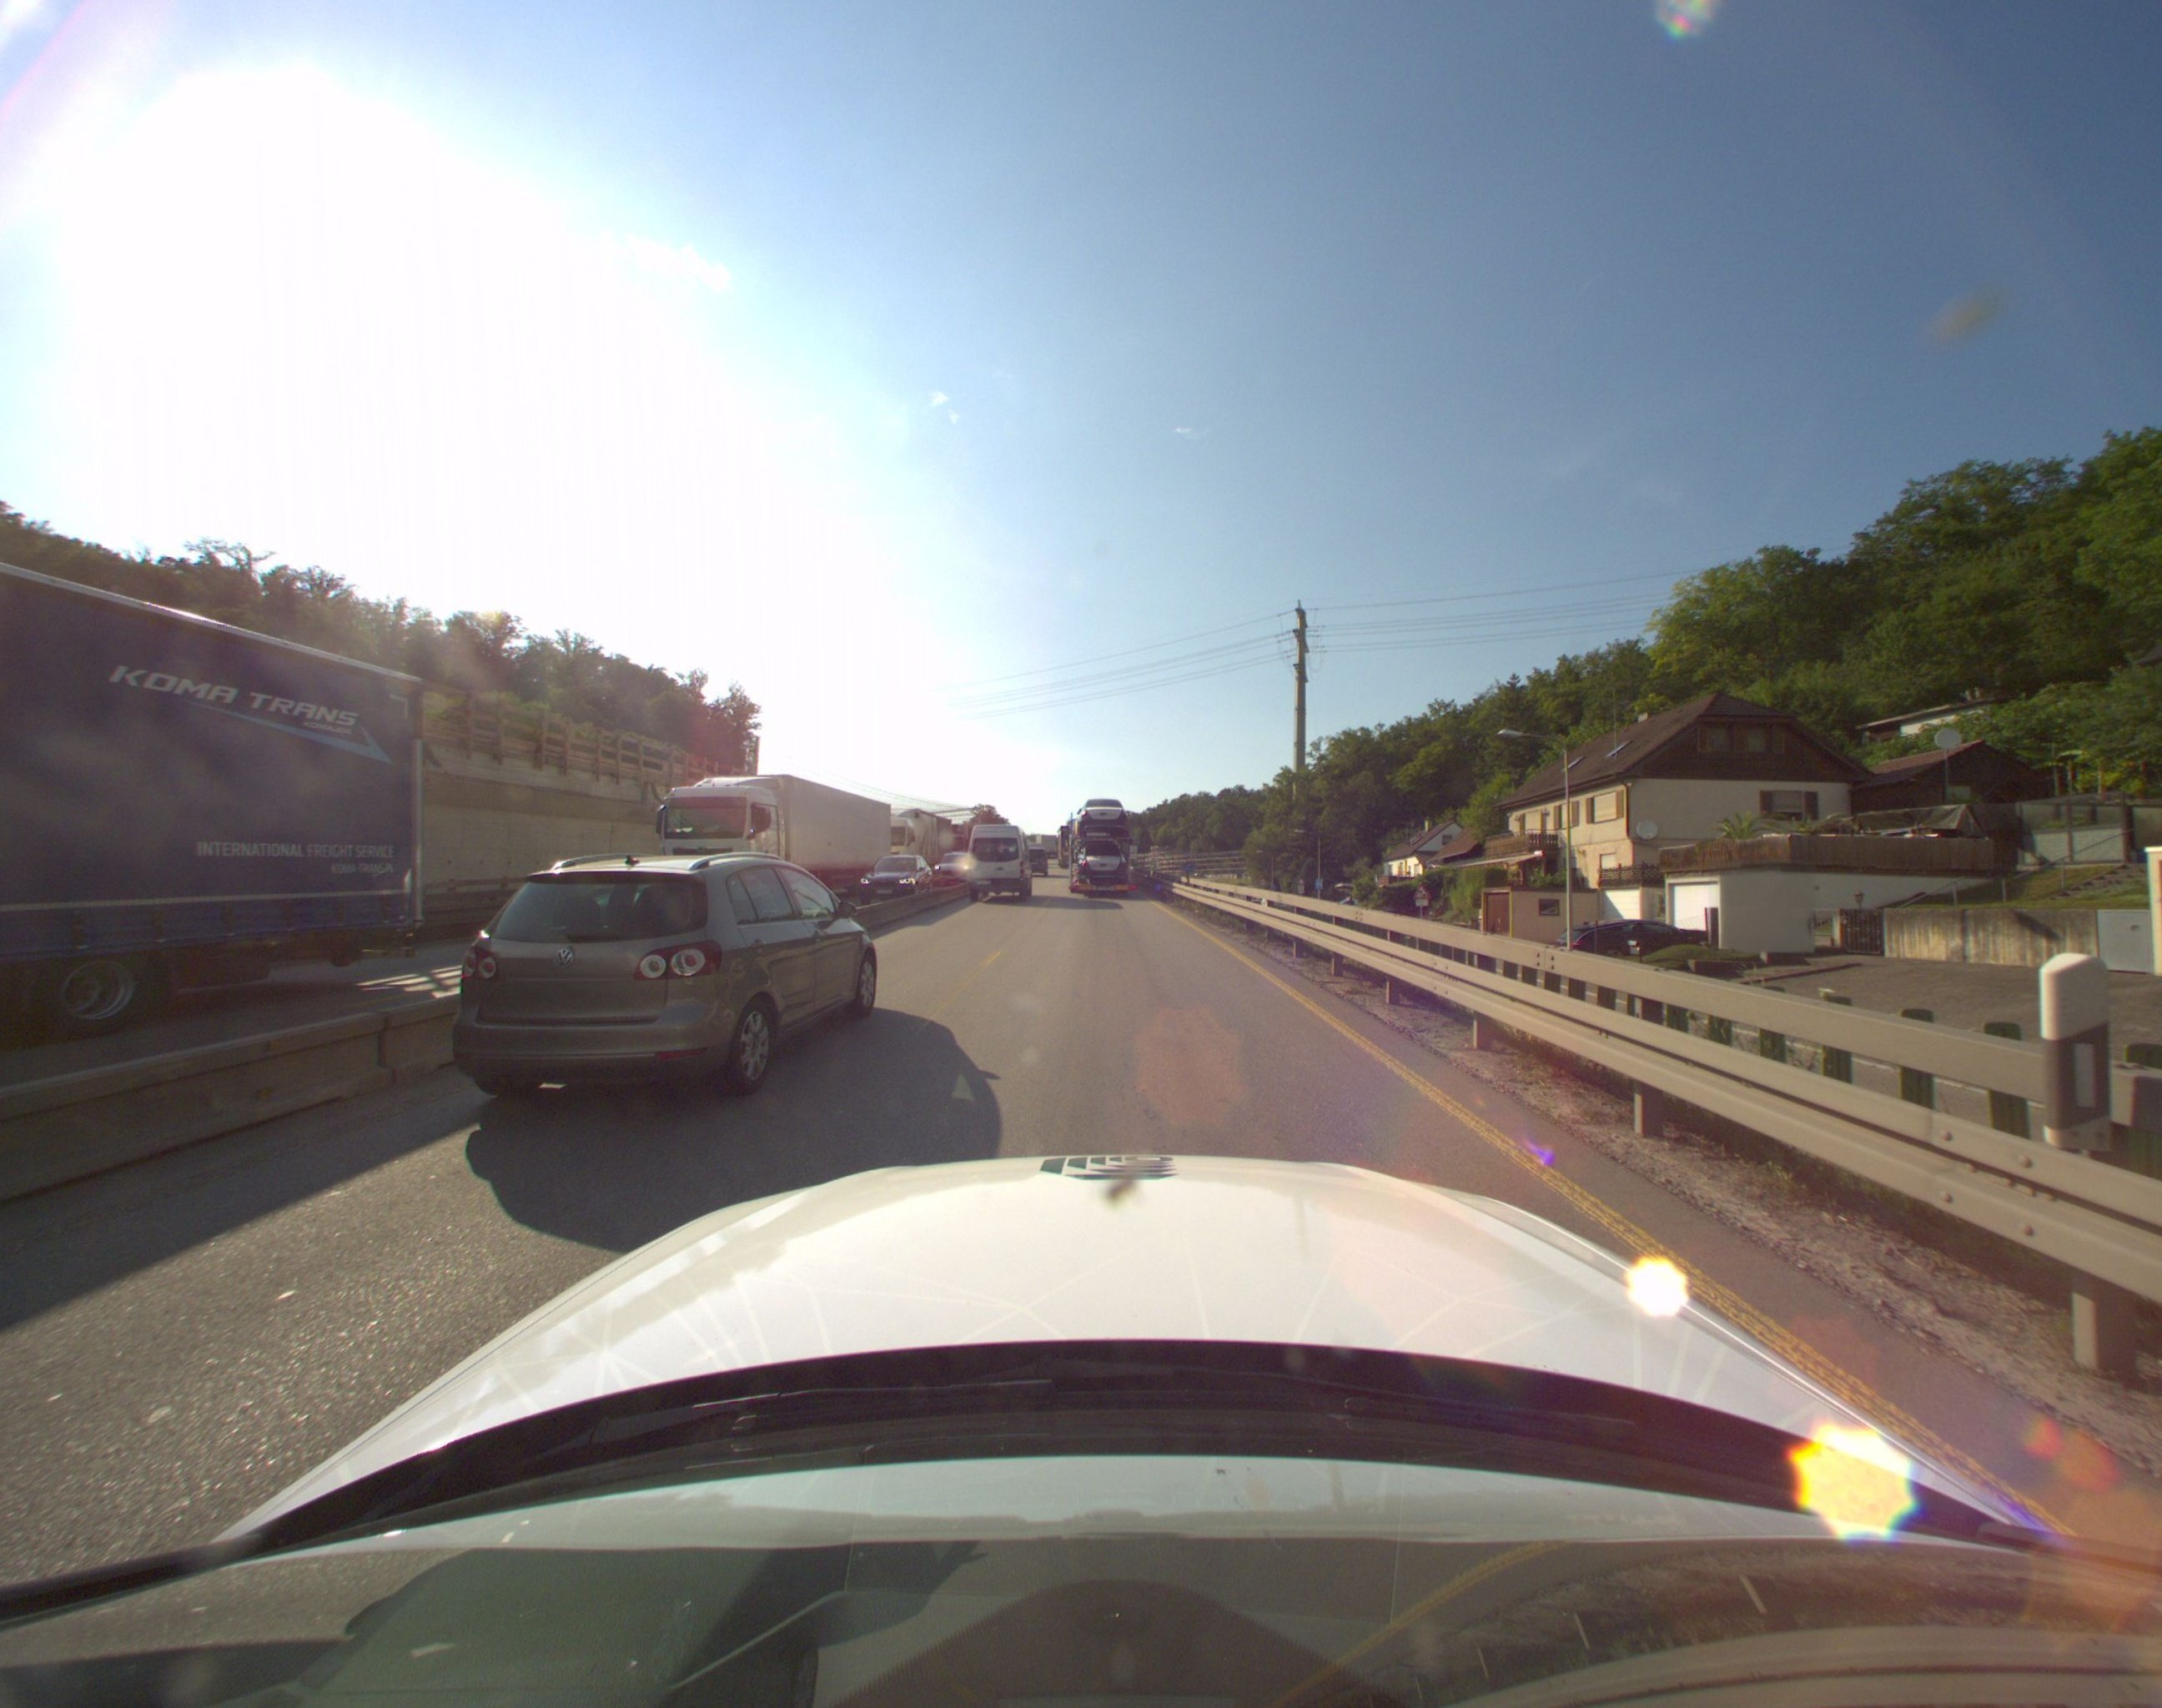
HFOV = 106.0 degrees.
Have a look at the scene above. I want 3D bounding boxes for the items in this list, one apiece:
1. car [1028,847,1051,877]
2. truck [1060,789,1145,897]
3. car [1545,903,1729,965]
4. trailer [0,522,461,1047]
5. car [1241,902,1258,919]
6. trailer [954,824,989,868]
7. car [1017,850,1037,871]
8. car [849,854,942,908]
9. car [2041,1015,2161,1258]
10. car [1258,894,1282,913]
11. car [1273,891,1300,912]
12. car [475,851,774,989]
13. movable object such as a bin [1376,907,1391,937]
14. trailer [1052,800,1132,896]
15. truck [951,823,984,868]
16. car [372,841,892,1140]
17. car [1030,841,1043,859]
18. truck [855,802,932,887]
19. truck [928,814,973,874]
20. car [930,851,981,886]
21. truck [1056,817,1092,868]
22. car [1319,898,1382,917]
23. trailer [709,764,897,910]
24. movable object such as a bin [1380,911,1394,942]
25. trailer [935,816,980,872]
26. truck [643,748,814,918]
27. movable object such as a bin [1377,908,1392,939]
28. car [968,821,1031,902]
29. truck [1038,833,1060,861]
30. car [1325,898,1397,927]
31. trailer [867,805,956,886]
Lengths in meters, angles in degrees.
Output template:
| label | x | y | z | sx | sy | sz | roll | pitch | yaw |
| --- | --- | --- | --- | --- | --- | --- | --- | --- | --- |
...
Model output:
| label | x | y | z | sx | sy | sz | roll | pitch | yaw |
| --- | --- | --- | --- | --- | --- | --- | --- | --- | --- |
| car | -2.932 | 0.568 | 58.194 | 1.524 | 2.014 | 3.997 | 2 | -1 | -2 |
| truck | 0.727 | -0.406 | 32.986 | 2.864 | 3.980 | 5.763 | 0 | -1 | -4 |
| car | 18.048 | 2.582 | 26.647 | 4.473 | 1.525 | 2.002 | -6 | -3 | 4 |
| trailer | -9.845 | -0.532 | 6.810 | 2.805 | 4.105 | 8.289 | 0 | -1 | 1 |
| car | 16.818 | 5.594 | 81.381 | 1.516 | 1.461 | 4.281 | -1 | -1 | 11 |
| trailer | -11.259 | -0.786 | 85.055 | 2.709 | 4.122 | 12.474 | -1 | 0 | -4 |
| car | -5.101 | 0.641 | 77.478 | 1.829 | 1.963 | 4.892 | 0 | -1 | -4 |
| car | -6.184 | 0.865 | 27.737 | 1.873 | 1.607 | 4.733 | 2 | -1 | 2 |
| car | 8.688 | 2.102 | 4.516 | 1.660 | 1.662 | 4.476 | 0 | -2 | 5 |
| car | 20.813 | 5.430 | 90.001 | 1.854 | 1.986 | 5.057 | 0 | -2 | 5 |
| car | 20.102 | 4.594 | 79.766 | 1.985 | 1.917 | 4.872 | -1 | -2 | 7 |
| car | -6.071 | 0.780 | 11.556 | 1.693 | 1.576 | 4.370 | 0 | -1 | 1 |
| movable object such as a bin | 18.311 | 4.124 | 49.371 | 0.526 | 1.770 | 0.417 | 10 | -1 | 9 |
| trailer | 0.188 | -0.198 | 41.394 | 2.869 | 3.994 | 15.257 | 0 | 0 | -4 |
| truck | -10.696 | -0.765 | 77.035 | 2.744 | 4.115 | 5.022 | -1 | 0 | -5 |
| car | -2.883 | 0.748 | 6.428 | 1.694 | 1.587 | 4.148 | 0 | -1 | 2 |
| car | -5.423 | -0.465 | 99.646 | 1.525 | 2.014 | 3.994 | 2 | -1 | -4 |
| truck | -9.828 | -0.454 | 43.276 | 2.756 | 4.203 | 6.111 | 0 | -1 | -1 |
| truck | -10.141 | -0.769 | 63.844 | 2.912 | 4.514 | 5.022 | 0 | 0 | -3 |
| car | -6.545 | 0.754 | 43.040 | 2.003 | 1.655 | 4.970 | 2 | -1 | -2 |
| truck | -0.819 | -1.175 | 80.512 | 3.220 | 4.676 | 11.686 | 0 | 1 | -2 |
| car | 24.098 | 4.770 | 72.982 | 5.068 | 1.557 | 1.717 | 1 | -2 | 3 |
| trailer | -9.830 | -0.456 | 31.137 | 2.448 | 4.320 | 13.773 | 0 | 0 | 0 |
| movable object such as a bin | 18.066 | 4.282 | 48.084 | 0.487 | 1.770 | 0.415 | 10 | -1 | 9 |
| trailer | -10.349 | -0.776 | 68.952 | 2.904 | 4.465 | 7.145 | 1 | 0 | -3 |
| truck | -9.882 | -0.521 | 23.483 | 2.447 | 4.316 | 5.474 | 0 | -1 | 1 |
| movable object such as a bin | 18.227 | 4.192 | 48.947 | 0.532 | 1.770 | 0.409 | 10 | -1 | 9 |
| car | -2.853 | 0.259 | 29.286 | 1.974 | 2.684 | 4.144 | 0 | -1 | -2 |
| truck | -5.581 | -1.245 | 141.563 | 3.639 | 4.676 | 11.686 | 0 | 1 | -2 |
| car | 23.474 | 4.877 | 68.433 | 5.443 | 2.264 | 2.002 | 1 | -2 | 3 |
| trailer | -9.953 | -0.401 | 49.669 | 2.768 | 4.203 | 13.825 | 0 | 0 | -1 |
